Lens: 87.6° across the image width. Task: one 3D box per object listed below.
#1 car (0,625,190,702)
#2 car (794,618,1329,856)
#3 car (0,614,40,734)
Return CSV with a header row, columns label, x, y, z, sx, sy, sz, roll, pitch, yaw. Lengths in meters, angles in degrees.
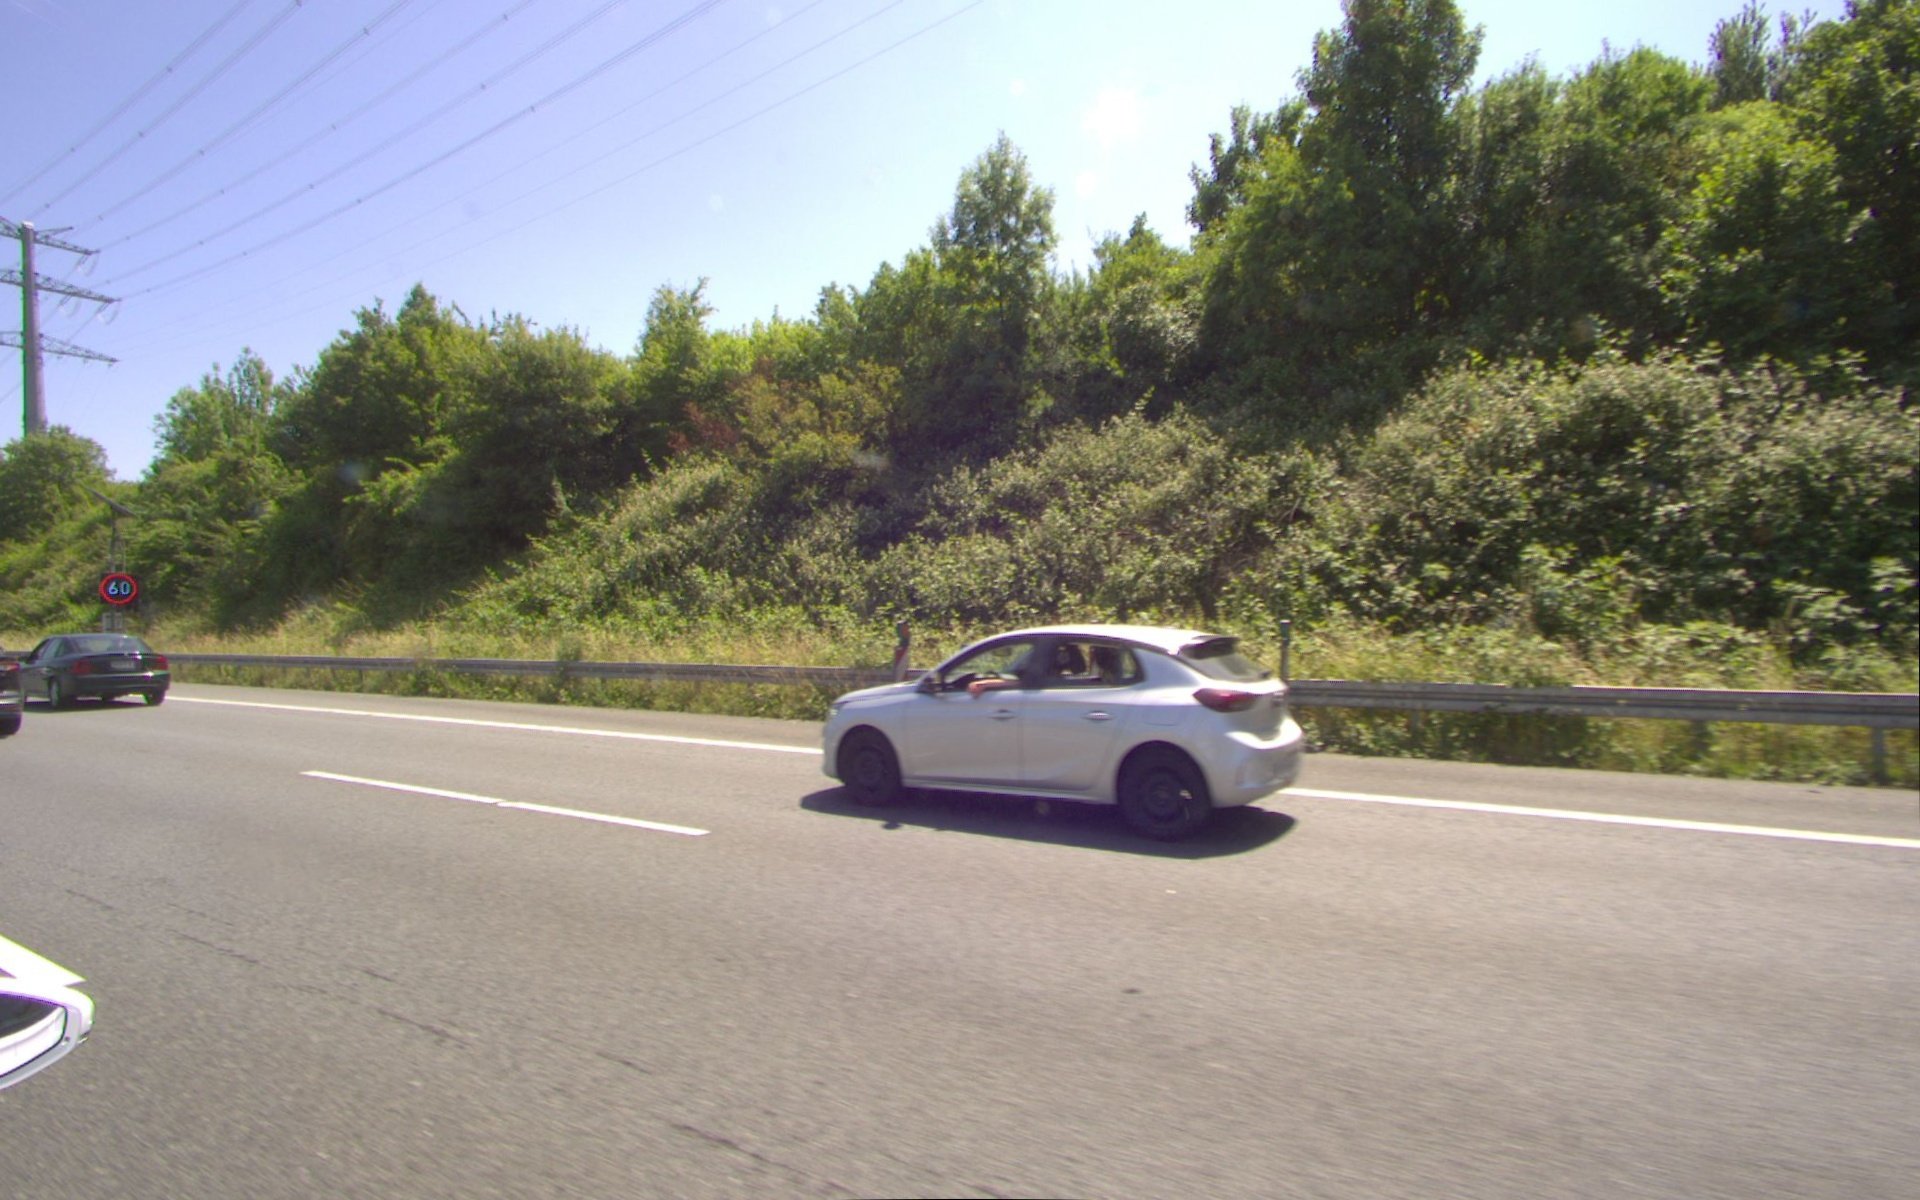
label,x,y,z,sx,sy,sz,roll,pitch,yaw
car,-17.394,1.221,20.047,4.240,1.395,1.732,-1,-2,31
car,0.724,0.902,8.073,3.957,1.489,1.737,-1,-1,33
car,-15.160,1.027,14.368,4.367,1.635,1.825,-1,-1,32
